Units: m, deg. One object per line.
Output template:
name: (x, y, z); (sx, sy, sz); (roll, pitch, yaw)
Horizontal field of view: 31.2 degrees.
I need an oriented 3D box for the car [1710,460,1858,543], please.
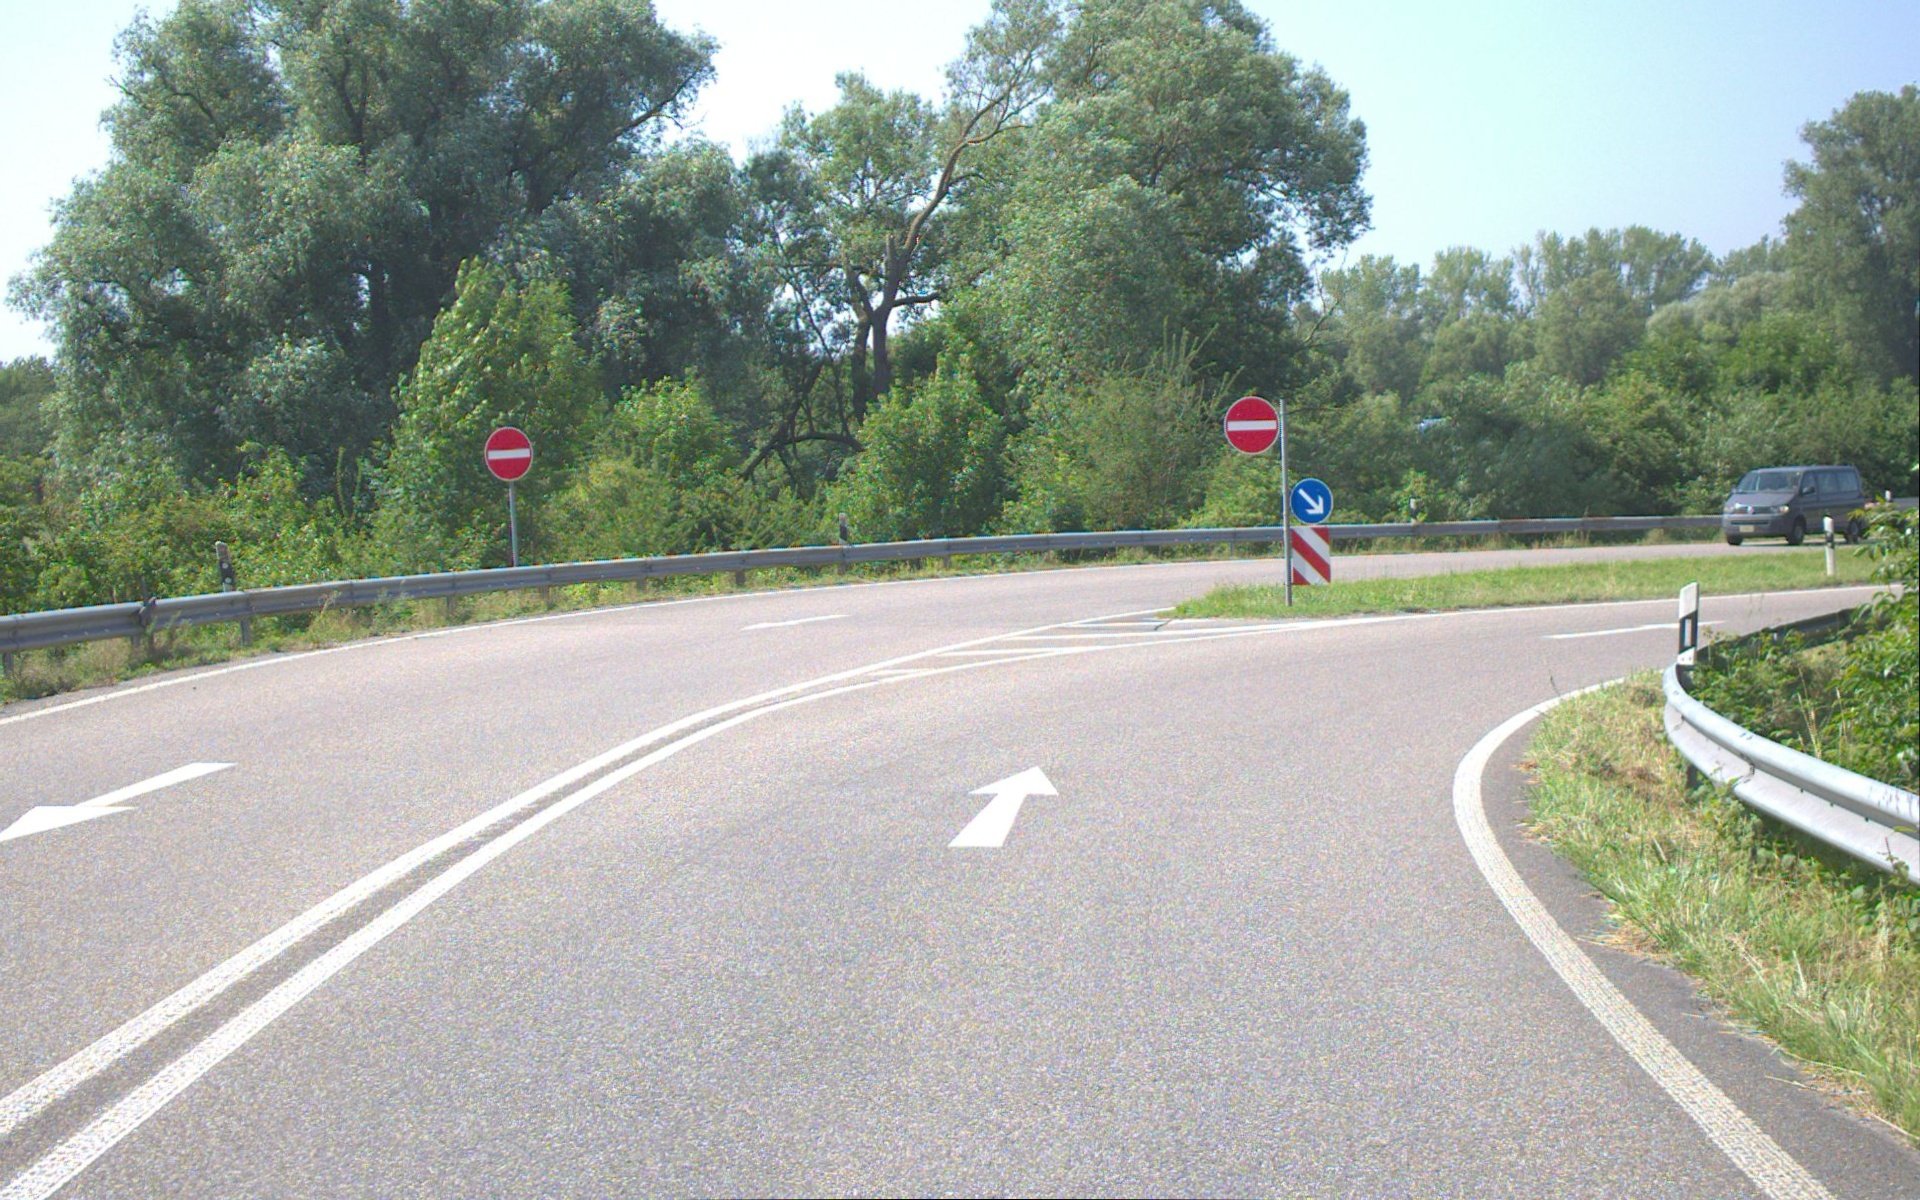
car: (20.733, -2.497, 86.419); (1.902, 1.874, 3.991); (4, 6, 42)
